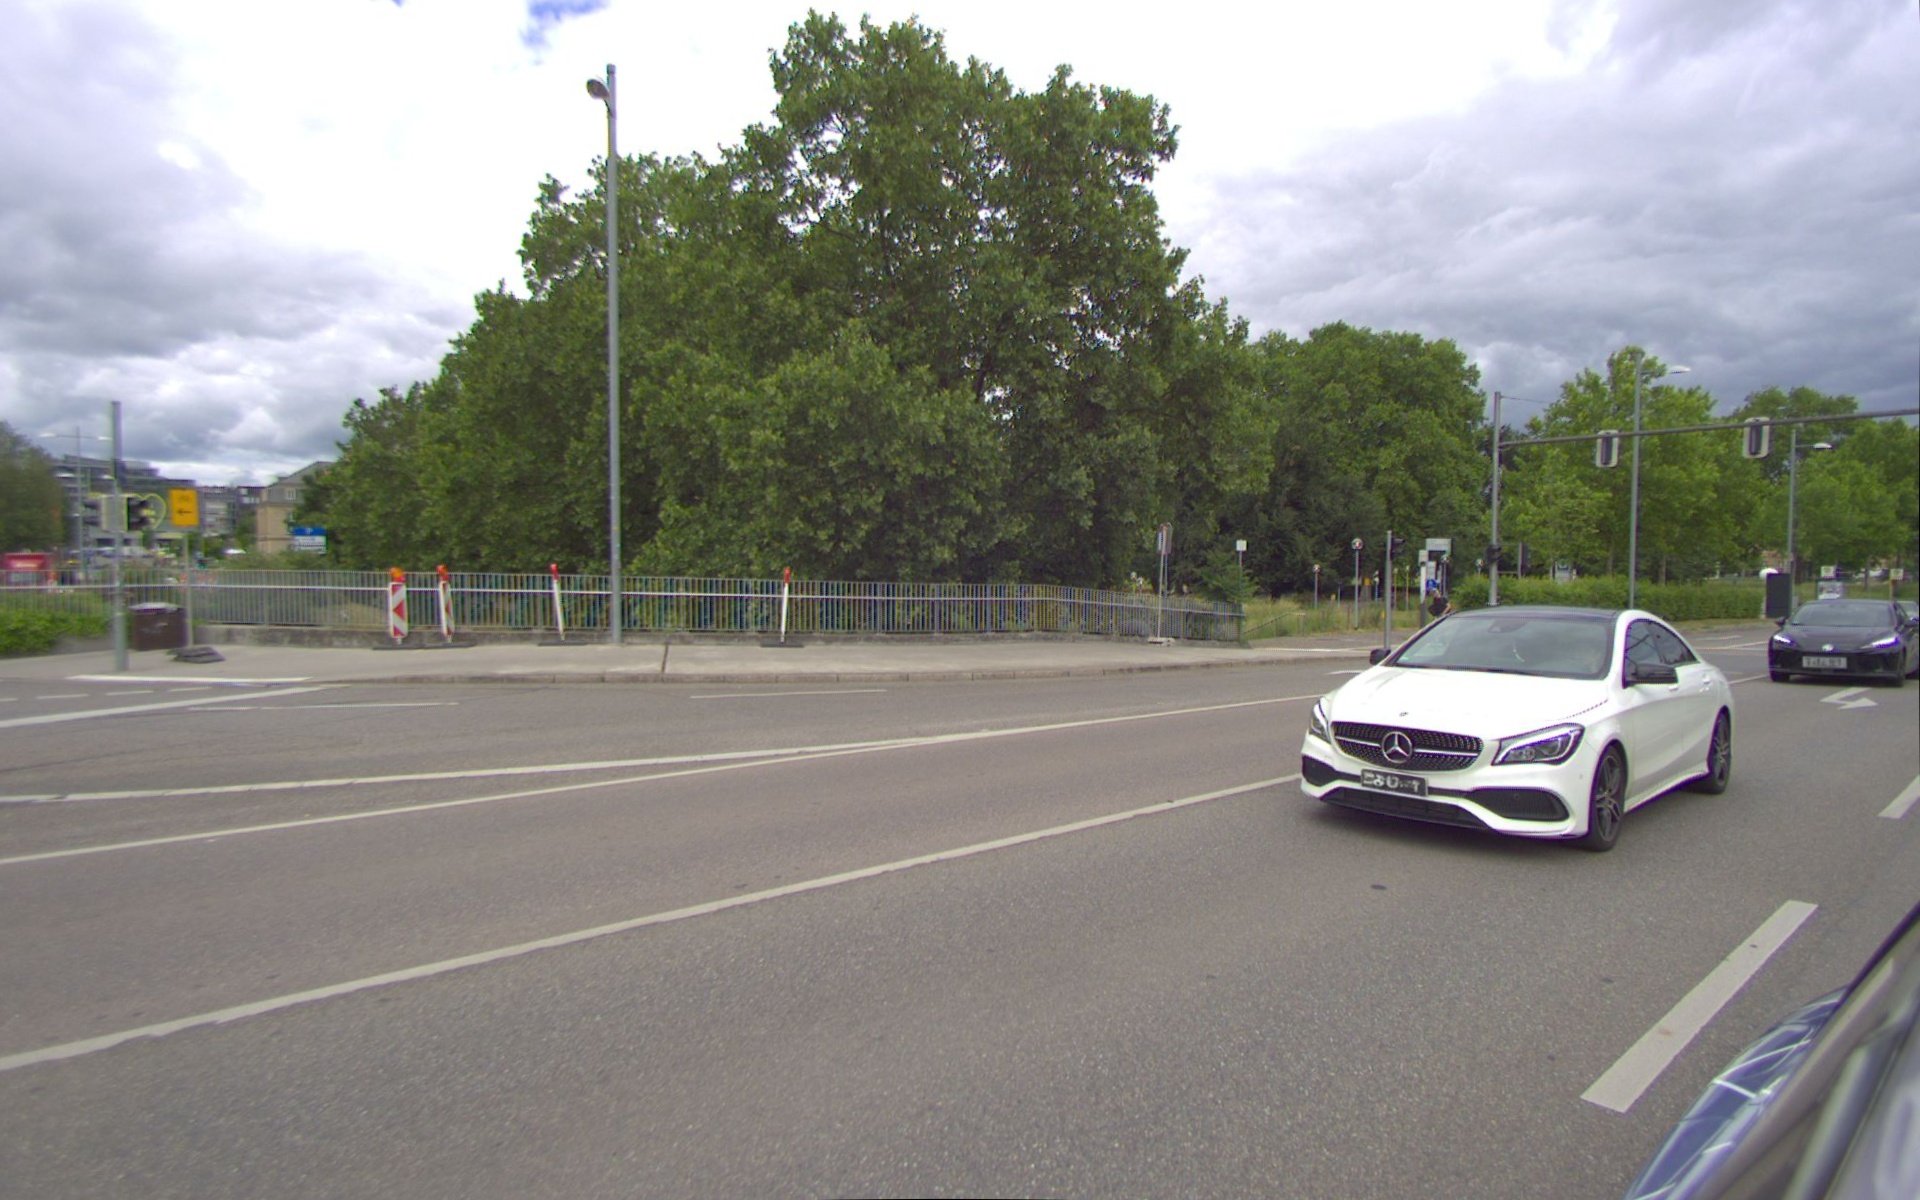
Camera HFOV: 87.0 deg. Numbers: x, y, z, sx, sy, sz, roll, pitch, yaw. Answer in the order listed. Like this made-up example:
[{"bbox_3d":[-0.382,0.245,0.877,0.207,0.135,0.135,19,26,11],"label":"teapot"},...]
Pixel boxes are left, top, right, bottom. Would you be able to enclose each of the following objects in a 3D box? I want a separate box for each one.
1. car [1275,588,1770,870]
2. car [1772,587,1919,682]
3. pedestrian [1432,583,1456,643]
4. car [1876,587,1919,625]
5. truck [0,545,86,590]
[{"bbox_3d":[4.283,0.644,7.364,4.427,1.441,1.722,-1,1,-41],"label":"car"},{"bbox_3d":[16.465,0.547,18.500,4.047,1.543,1.828,0,0,-41],"label":"car"},{"bbox_3d":[14.687,0.392,30.711,0.610,1.786,0.478,0,0,-43],"label":"pedestrian"},{"bbox_3d":[41.194,0.220,43.878,3.931,1.556,1.722,-1,1,-40],"label":"car"},{"bbox_3d":[-74.554,-2.573,81.917,2.753,3.411,7.651,0,1,-16],"label":"truck"}]
